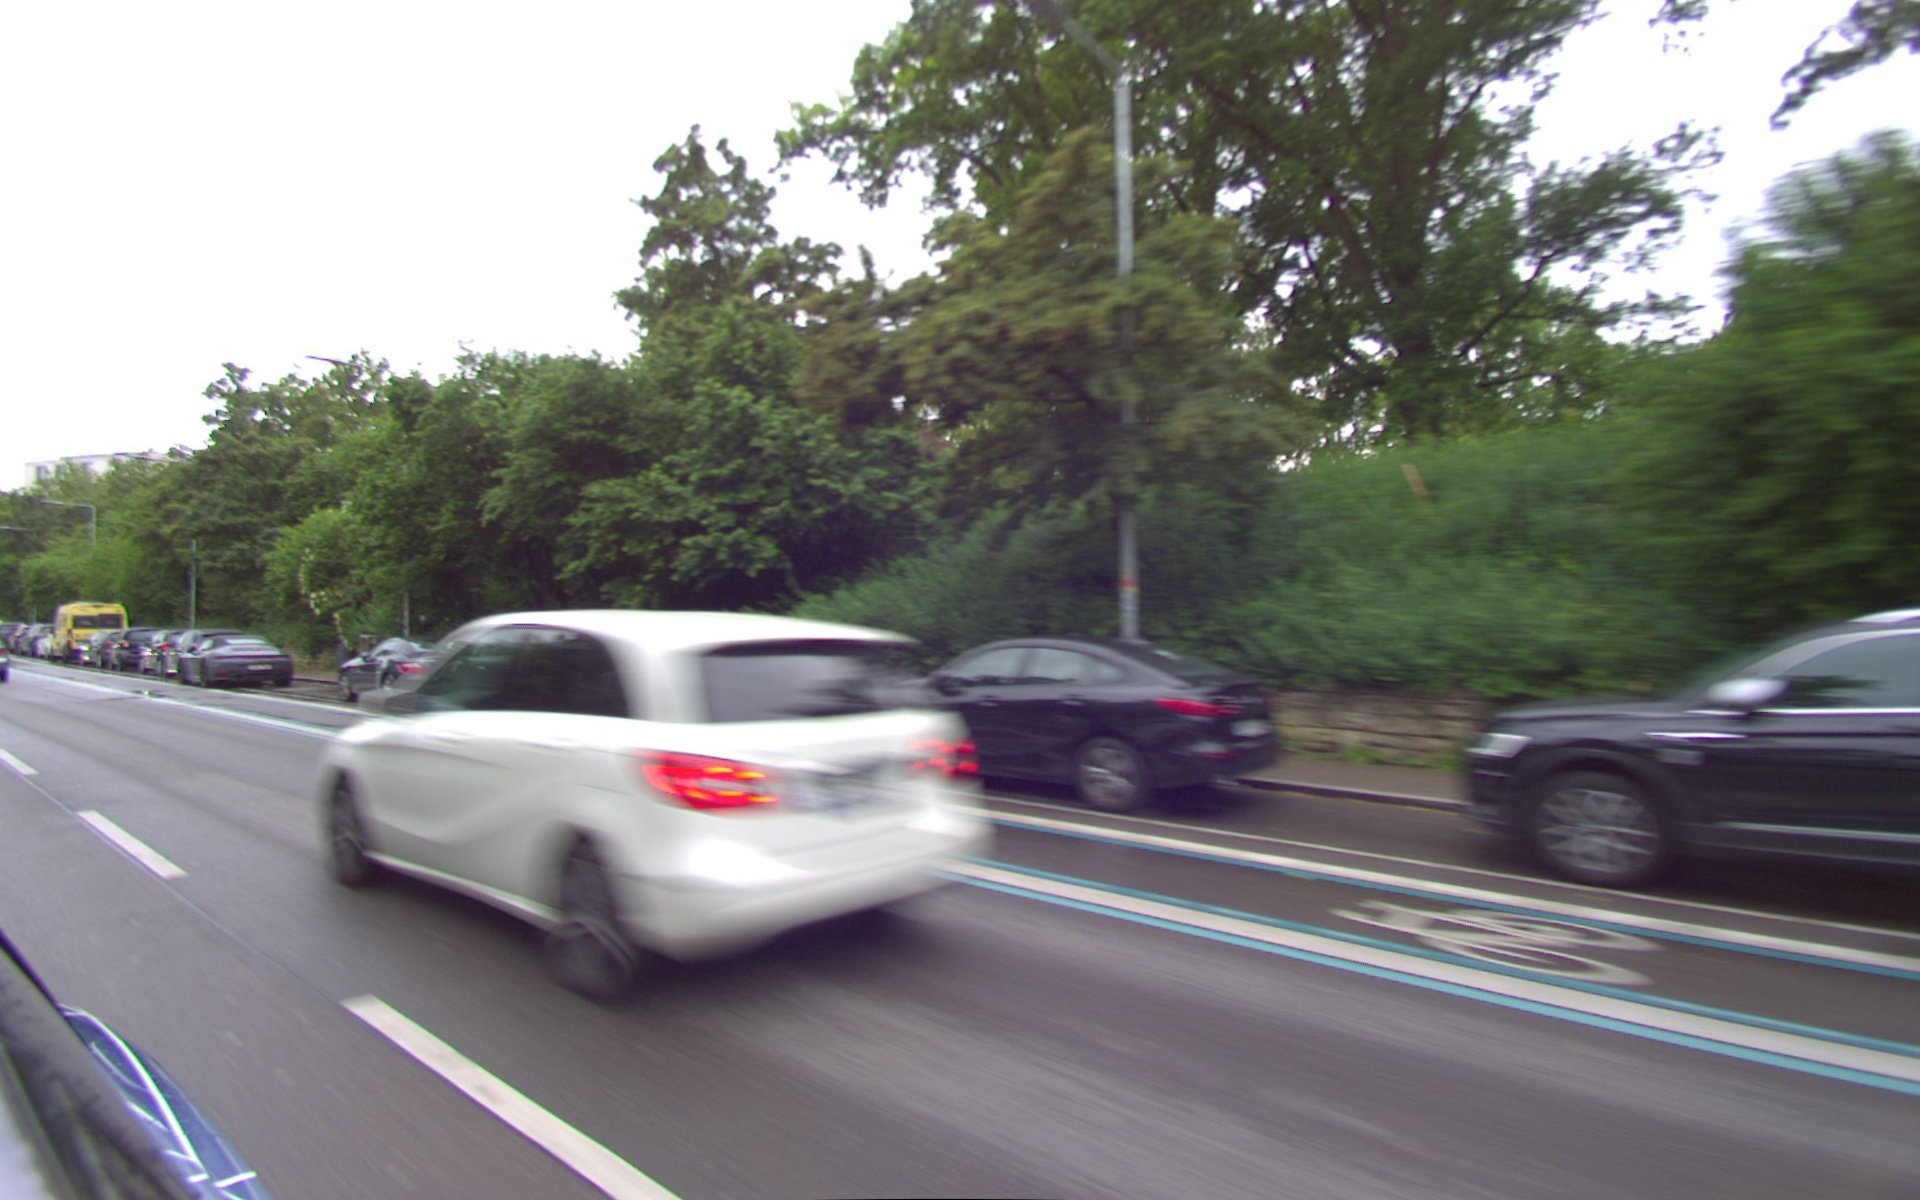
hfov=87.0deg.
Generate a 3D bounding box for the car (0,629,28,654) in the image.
[{"bbox_3d":[-58.691,2.542,62.155,3.557,1.446,1.802,-2,-2,41],"label":"car"}]

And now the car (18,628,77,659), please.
[{"bbox_3d":[-45.916,2.179,50.919,3.557,1.446,1.802,-2,-2,41],"label":"car"}]

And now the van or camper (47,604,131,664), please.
[{"bbox_3d":[-37.516,1.440,43.578,4.434,2.470,2.137,-2,-2,41],"label":"van or camper"}]

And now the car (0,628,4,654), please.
[{"bbox_3d":[-64.664,2.734,66.895,3.557,1.672,1.802,-2,-1,41],"label":"car"}]

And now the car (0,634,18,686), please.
[{"bbox_3d":[-28.203,1.674,28.532,3.994,1.413,1.783,-1,-1,38],"label":"car"}]

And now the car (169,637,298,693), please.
[{"bbox_3d":[-18.812,1.626,26.153,4.204,1.303,1.802,-2,-2,41],"label":"car"}]

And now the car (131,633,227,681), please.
[{"bbox_3d":[-25.610,1.823,33.171,3.771,1.446,1.802,-2,-2,41],"label":"car"}]

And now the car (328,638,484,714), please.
[{"bbox_3d":[-10.672,1.387,19.419,3.595,1.303,1.494,-2,-2,41],"label":"car"}]

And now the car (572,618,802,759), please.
[{"bbox_3d":[-3.555,1.063,13.047,2.858,1.606,1.507,-2,-3,40],"label":"car"}]

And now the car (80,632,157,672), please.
[{"bbox_3d":[-32.840,2.006,39.476,3.557,1.446,1.802,-2,-2,41],"label":"car"}]

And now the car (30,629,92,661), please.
[{"bbox_3d":[-42.732,2.129,48.092,3.557,1.446,1.802,-2,-2,41],"label":"car"}]

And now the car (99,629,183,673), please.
[{"bbox_3d":[-29.926,1.838,36.937,3.557,1.490,1.802,-2,-2,41],"label":"car"}]

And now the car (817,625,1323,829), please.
[{"bbox_3d":[0.859,1.010,9.671,4.550,1.486,1.877,-2,-2,40],"label":"car"}]

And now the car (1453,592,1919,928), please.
[{"bbox_3d":[5.480,0.806,5.592,4.669,1.673,1.718,-2,-2,40],"label":"car"}]

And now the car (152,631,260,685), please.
[{"bbox_3d":[-22.080,1.657,29.591,3.771,1.446,1.802,-2,-2,41],"label":"car"}]

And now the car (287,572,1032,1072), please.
[{"bbox_3d":[-1.844,0.775,5.327,4.256,1.592,1.767,-2,-3,41],"label":"car"}]

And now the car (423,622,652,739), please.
[{"bbox_3d":[-6.710,1.161,15.892,3.991,1.600,1.795,-2,-2,42],"label":"car"}]

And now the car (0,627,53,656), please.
[{"bbox_3d":[-50.346,2.222,54.514,3.557,1.535,1.802,-2,-2,41],"label":"car"}]
